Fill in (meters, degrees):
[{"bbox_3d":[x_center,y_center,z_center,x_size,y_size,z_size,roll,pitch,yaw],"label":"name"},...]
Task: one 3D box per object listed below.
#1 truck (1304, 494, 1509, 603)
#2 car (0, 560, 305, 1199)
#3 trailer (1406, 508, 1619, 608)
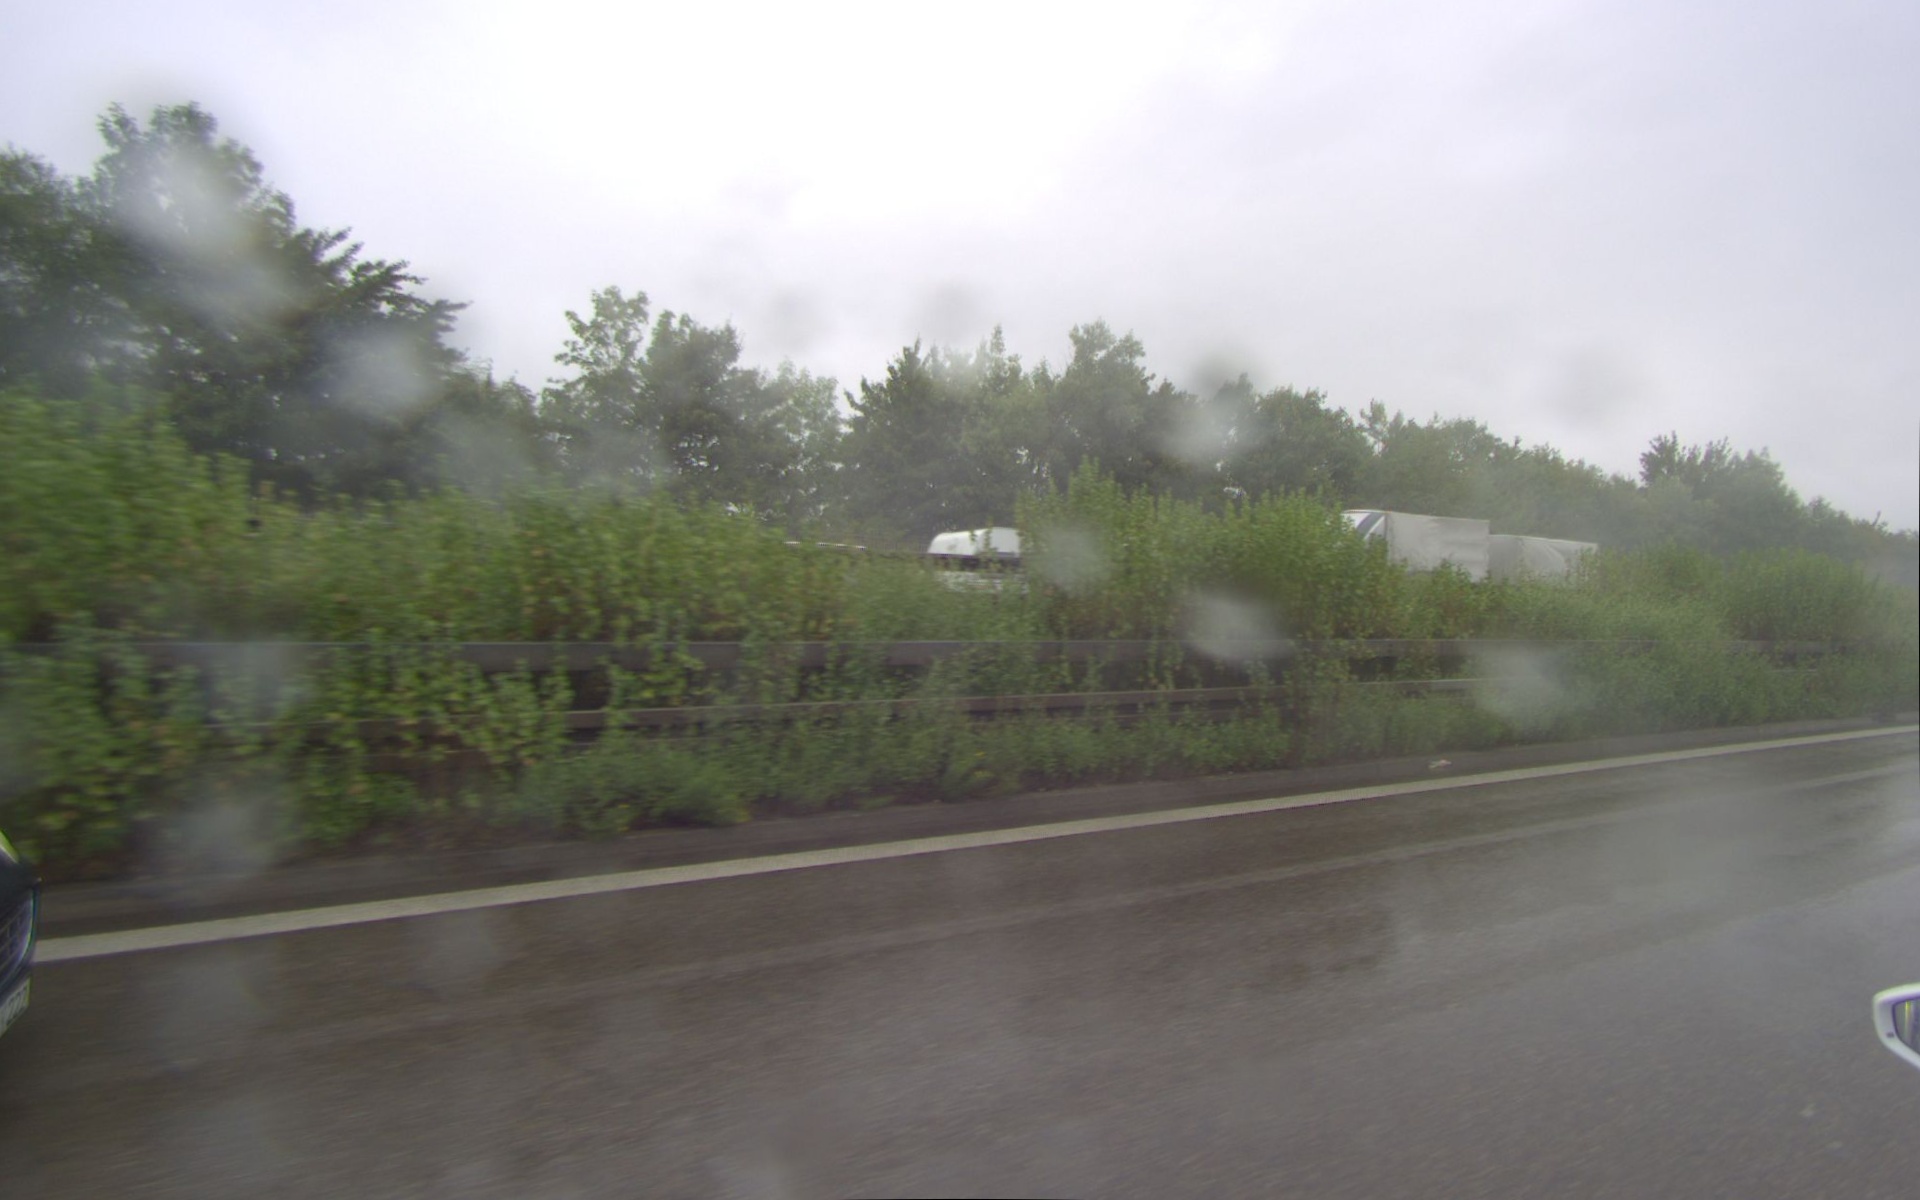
[{"bbox_3d":[11.561,-1.217,25.901,5.283,2.455,2.228,1,0,-32],"label":"truck"},{"bbox_3d":[-4.366,0.593,1.894,5.099,1.505,2.044,2,0,-31],"label":"car"},{"bbox_3d":[15.701,-1.071,28.430,6.571,2.460,2.260,1,0,-31],"label":"trailer"}]
